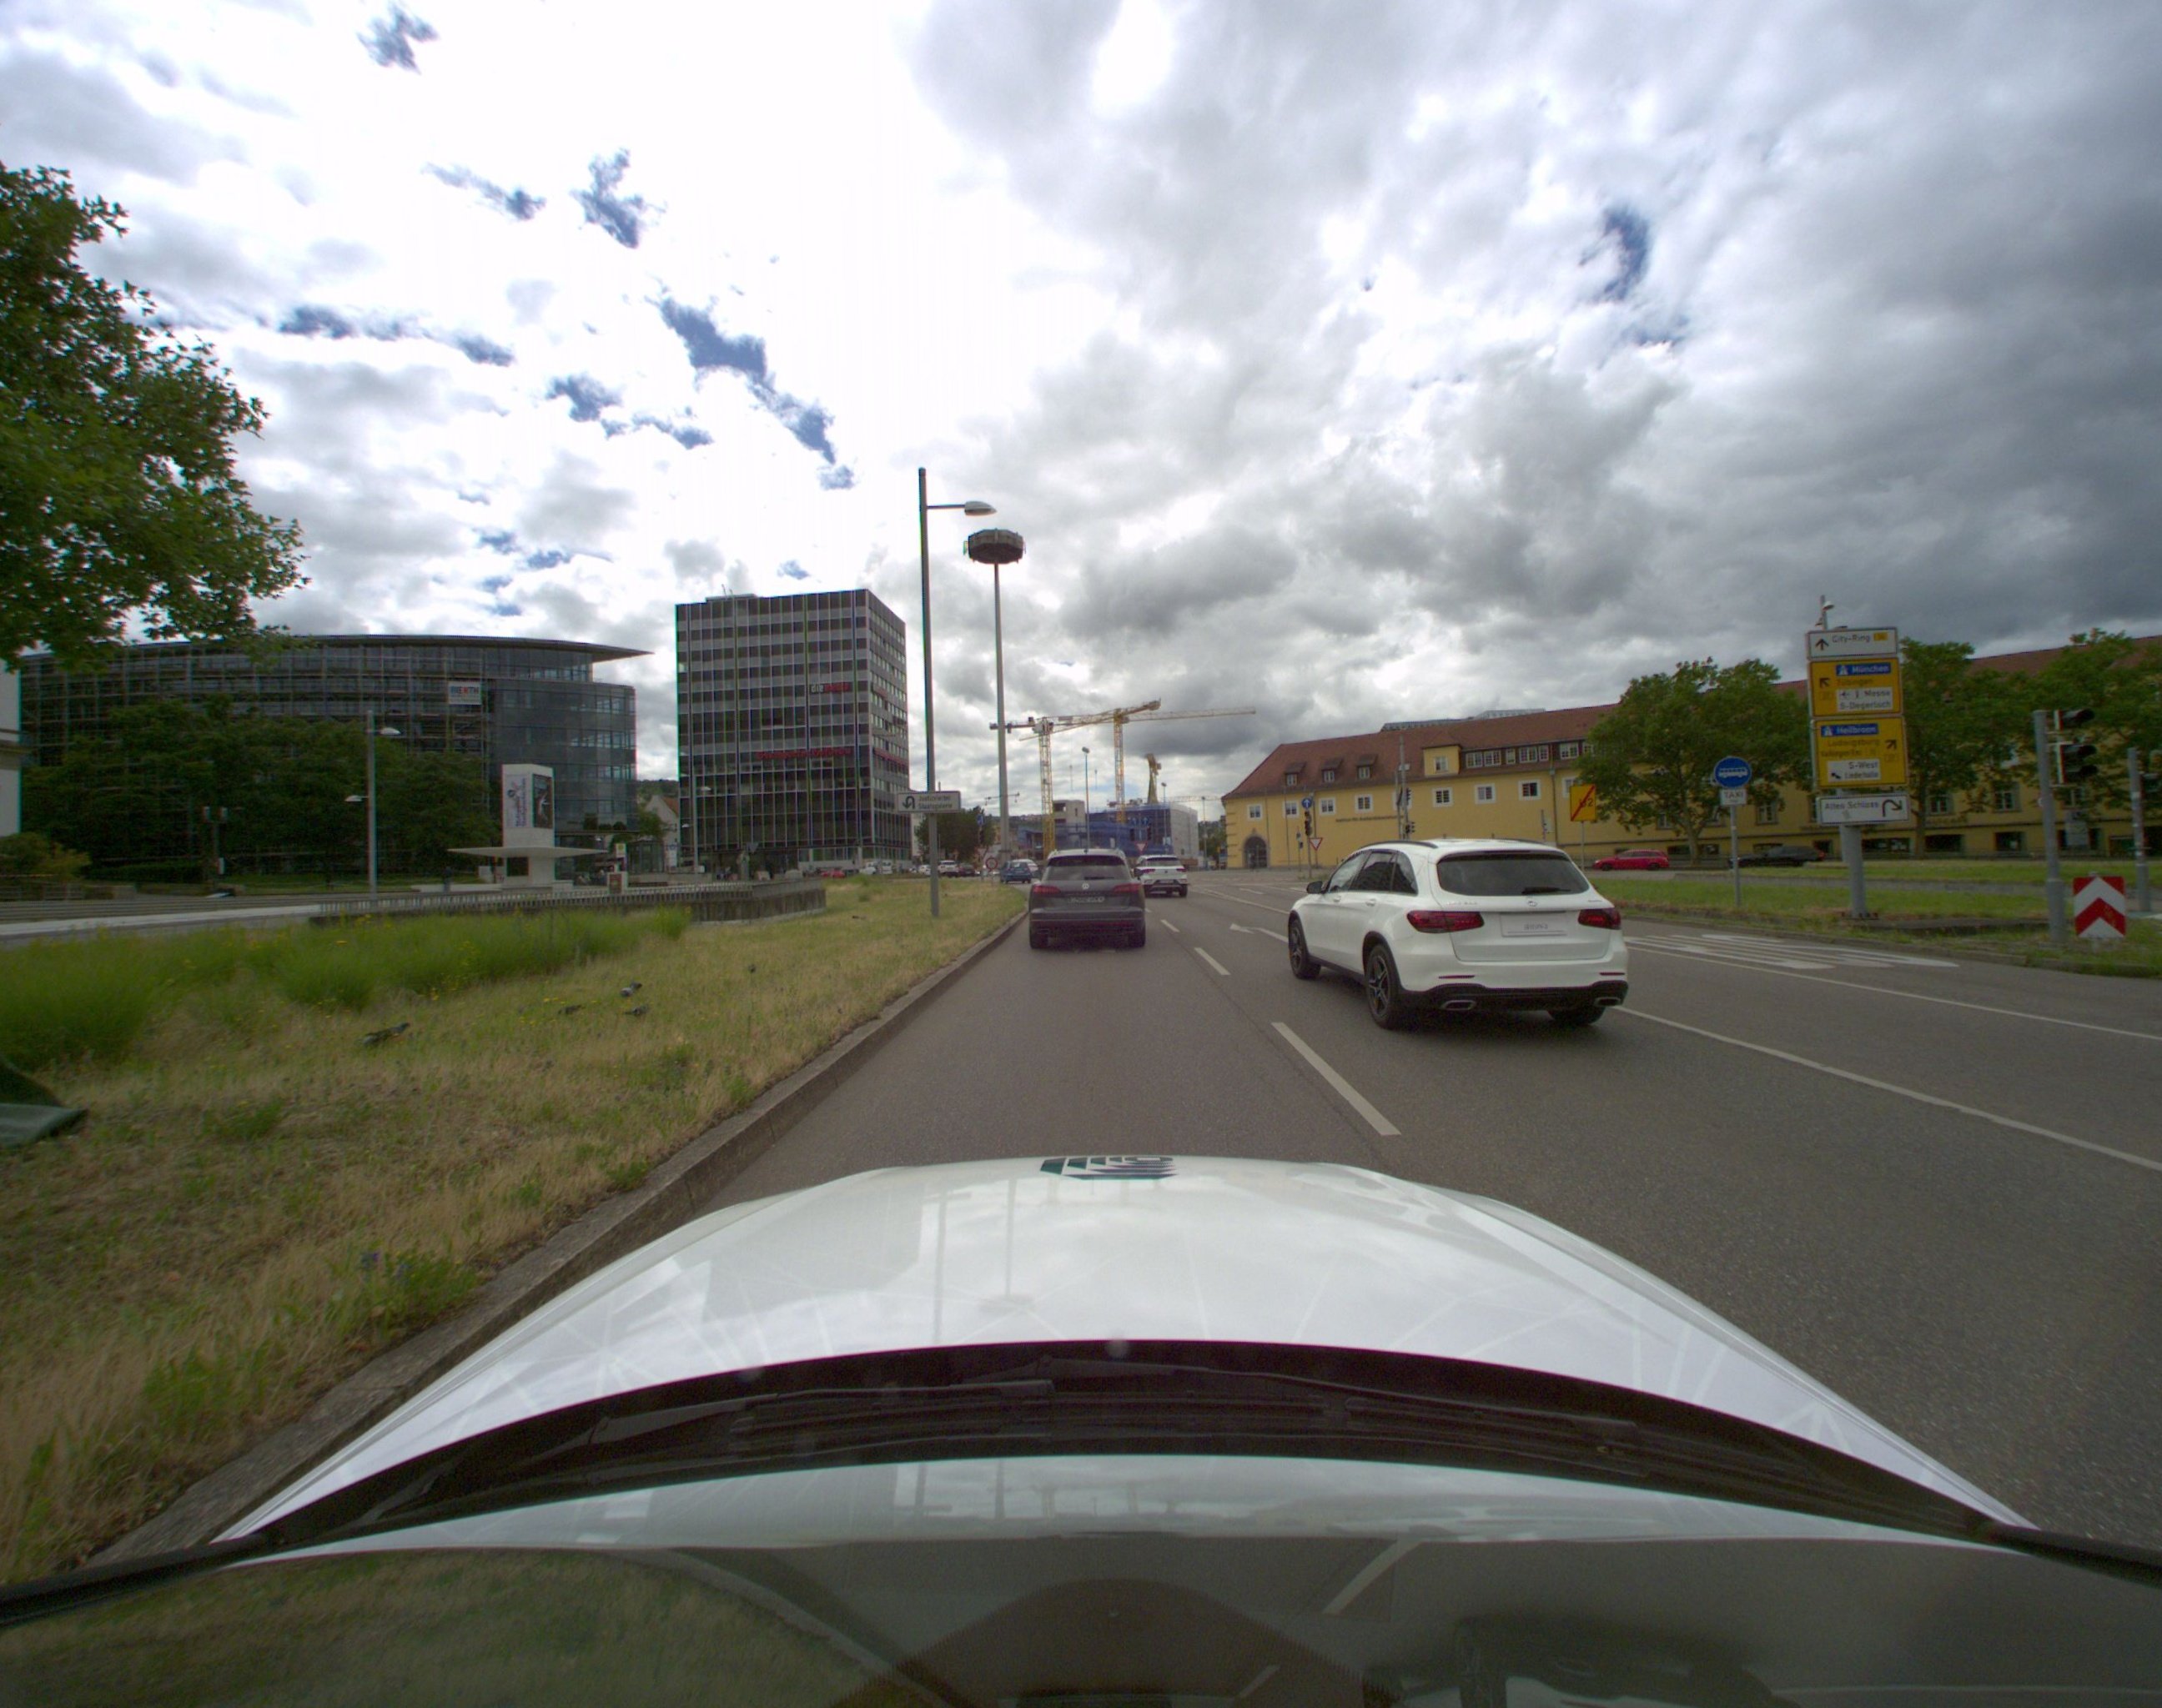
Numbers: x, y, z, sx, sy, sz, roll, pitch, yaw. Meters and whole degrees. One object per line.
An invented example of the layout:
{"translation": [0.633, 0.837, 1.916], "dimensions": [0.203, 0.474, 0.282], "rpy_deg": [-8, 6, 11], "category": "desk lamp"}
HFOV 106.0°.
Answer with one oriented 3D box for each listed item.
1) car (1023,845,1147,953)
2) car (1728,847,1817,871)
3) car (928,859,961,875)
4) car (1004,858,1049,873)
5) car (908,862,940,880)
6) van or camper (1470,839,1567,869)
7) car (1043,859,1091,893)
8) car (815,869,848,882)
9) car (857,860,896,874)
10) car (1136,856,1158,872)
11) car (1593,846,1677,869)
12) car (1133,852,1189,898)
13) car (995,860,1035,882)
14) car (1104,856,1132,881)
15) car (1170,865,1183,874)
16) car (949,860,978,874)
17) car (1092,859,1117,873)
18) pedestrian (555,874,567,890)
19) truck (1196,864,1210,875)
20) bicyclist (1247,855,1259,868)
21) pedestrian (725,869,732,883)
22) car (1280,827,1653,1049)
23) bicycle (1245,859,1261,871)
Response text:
{"translation": [0.124, 0.701, 14.804], "dimensions": [1.925, 1.647, 4.002], "rpy_deg": [-1, 0, 2], "category": "car"}
{"translation": [43.432, 0.345, 51.248], "dimensions": [4.037, 1.413, 1.670], "rpy_deg": [-2, -1, 33], "category": "car"}
{"translation": [-13.020, 1.216, 77.579], "dimensions": [1.825, 1.496, 3.869], "rpy_deg": [-1, 0, -30], "category": "car"}
{"translation": [-4.476, 0.984, 66.385], "dimensions": [1.683, 1.139, 4.025], "rpy_deg": [-1, -1, -36], "category": "car"}
{"translation": [-18.351, 1.945, 95.075], "dimensions": [1.911, 1.610, 3.953], "rpy_deg": [-6, 7, -42], "category": "car"}
{"translation": [31.754, 0.002, 59.243], "dimensions": [5.946, 2.014, 2.032], "rpy_deg": [-2, -1, 37], "category": "van or camper"}
{"translation": [-0.670, 0.946, 35.731], "dimensions": [1.790, 1.356, 4.063], "rpy_deg": [-1, -1, -5], "category": "car"}
{"translation": [-31.492, 2.711, 102.764], "dimensions": [3.929, 1.502, 1.735], "rpy_deg": [-1, 0, 32], "category": "car"}
{"translation": [-24.149, 1.530, 96.076], "dimensions": [4.552, 1.502, 2.266], "rpy_deg": [-1, 0, 42], "category": "car"}
{"translation": [6.446, 0.959, 79.419], "dimensions": [1.797, 1.502, 3.980], "rpy_deg": [-1, 0, 0], "category": "car"}
{"translation": [37.447, 0.242, 55.149], "dimensions": [4.632, 1.420, 1.607], "rpy_deg": [-2, -1, 33], "category": "car"}
{"translation": [2.974, 0.738, 31.001], "dimensions": [1.886, 1.585, 3.802], "rpy_deg": [-1, 0, 2], "category": "car"}
{"translation": [-4.306, 1.076, 52.554], "dimensions": [1.797, 1.356, 4.048], "rpy_deg": [-1, -1, -16], "category": "car"}
{"translation": [2.426, 0.924, 52.622], "dimensions": [1.712, 1.502, 4.147], "rpy_deg": [-1, 0, 3], "category": "car"}
{"translation": [17.294, 2.789, 147.824], "dimensions": [1.790, 1.502, 3.996], "rpy_deg": [-1, 0, 14], "category": "car"}
{"translation": [-12.239, 1.343, 84.810], "dimensions": [1.651, 1.396, 3.561], "rpy_deg": [-1, 0, -32], "category": "car"}
{"translation": [2.962, 1.462, 102.452], "dimensions": [1.971, 1.667, 4.001], "rpy_deg": [-1, 0, 20], "category": "car"}
{"translation": [-35.081, 1.908, 54.927], "dimensions": [0.473, 1.081, 0.560], "rpy_deg": [-1, -1, 3], "category": "pedestrian"}
{"translation": [26.671, 3.385, 178.028], "dimensions": [2.111, 2.453, 4.849], "rpy_deg": [-1, 0, 17], "category": "truck"}
{"translation": [16.683, 0.727, 78.938], "dimensions": [0.921, 1.159, 0.724], "rpy_deg": [-1, -1, -3], "category": "bicyclist"}
{"translation": [-41.720, 2.592, 96.305], "dimensions": [0.627, 1.593, 0.584], "rpy_deg": [0, -1, -39], "category": "pedestrian"}
{"translation": [3.447, 0.628, 8.351], "dimensions": [1.812, 1.647, 4.380], "rpy_deg": [-1, 0, 1], "category": "car"}
{"translation": [16.682, 1.064, 78.945], "dimensions": [0.921, 1.159, 2.462], "rpy_deg": [-1, 0, -3], "category": "bicycle"}
